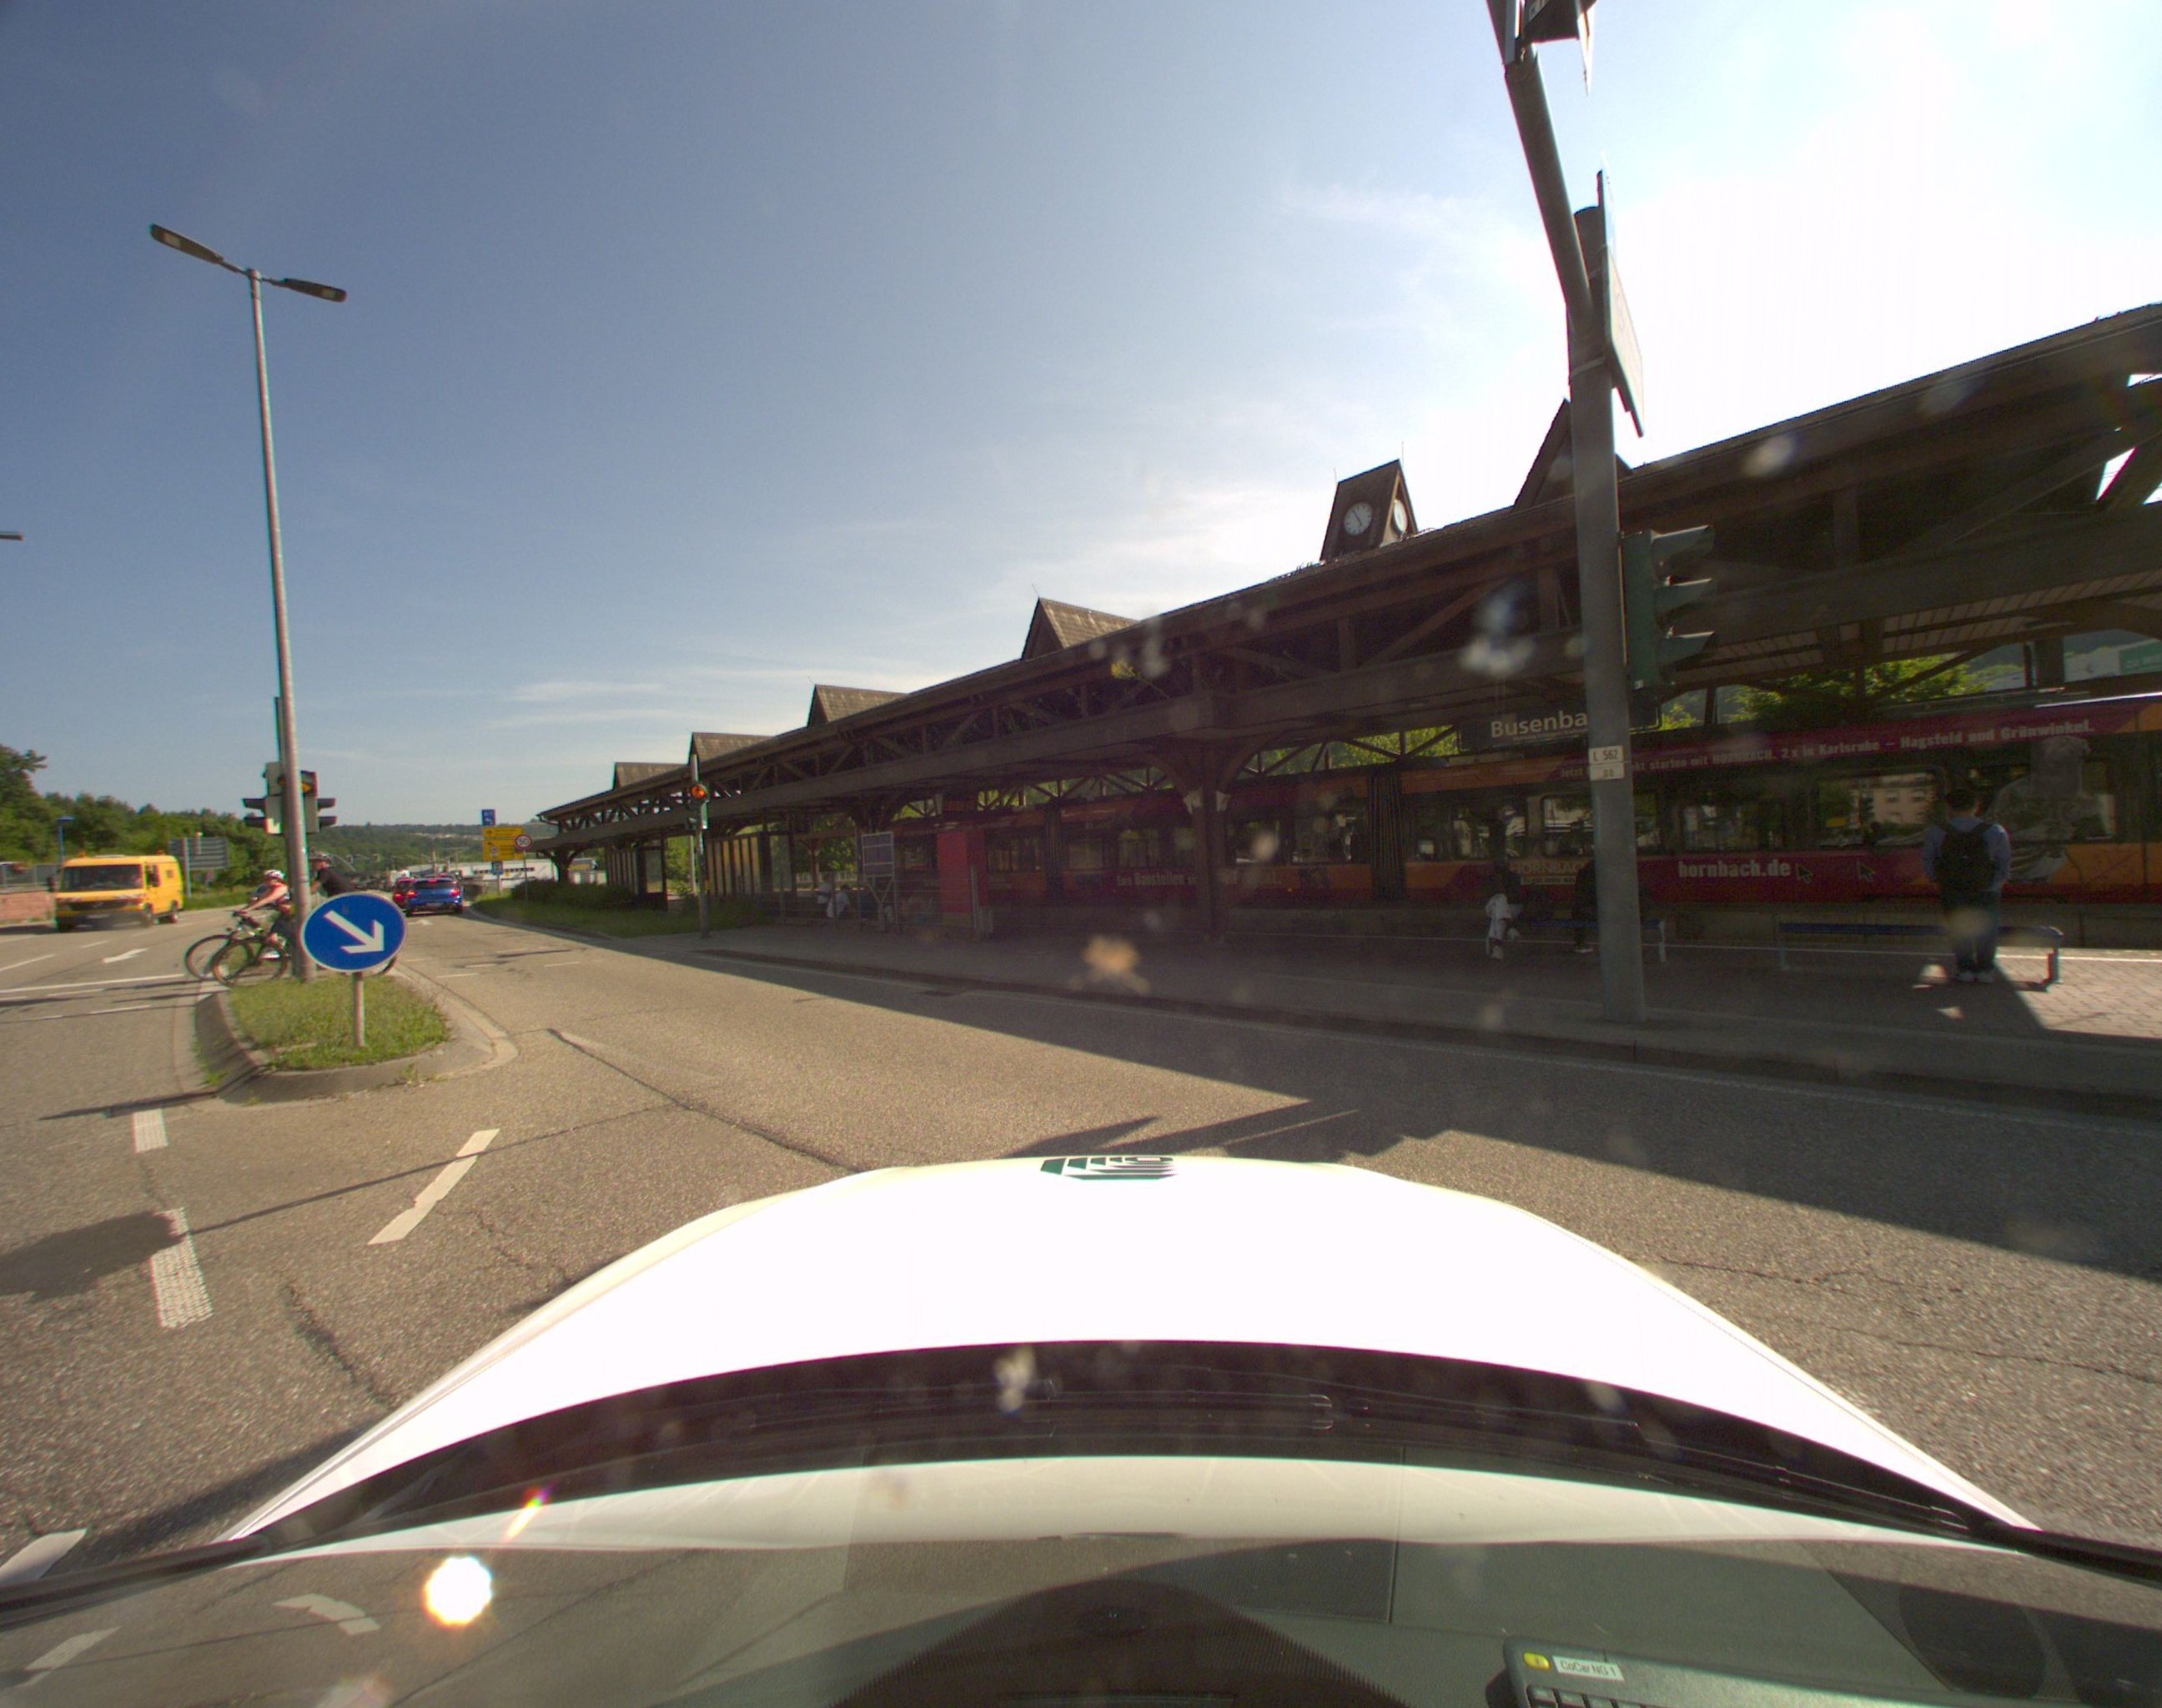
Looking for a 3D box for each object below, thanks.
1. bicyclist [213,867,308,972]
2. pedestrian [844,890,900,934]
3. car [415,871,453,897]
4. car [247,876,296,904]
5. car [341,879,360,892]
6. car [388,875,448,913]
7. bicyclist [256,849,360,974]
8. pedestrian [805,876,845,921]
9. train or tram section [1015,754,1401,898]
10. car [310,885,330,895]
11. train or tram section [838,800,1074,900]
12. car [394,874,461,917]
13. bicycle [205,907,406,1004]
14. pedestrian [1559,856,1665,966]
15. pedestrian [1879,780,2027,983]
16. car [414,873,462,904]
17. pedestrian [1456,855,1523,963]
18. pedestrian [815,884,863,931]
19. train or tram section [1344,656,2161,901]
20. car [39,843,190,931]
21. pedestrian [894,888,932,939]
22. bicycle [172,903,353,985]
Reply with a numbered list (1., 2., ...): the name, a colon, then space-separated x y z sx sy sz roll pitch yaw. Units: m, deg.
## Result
1. bicyclist: -13.247 1.020 13.161 0.796 1.564 0.963 -1 1 39
2. pedestrian: -4.422 1.210 17.256 0.797 0.874 0.853 -1 -1 41
3. car: -45.202 2.093 56.853 2.010 1.736 3.953 1 -2 -39
4. car: -46.931 2.072 47.273 1.761 1.462 3.995 -2 0 -42
5. car: -112.038 4.829 124.942 2.011 2.014 3.952 -1 -1 -41
6. car: -29.870 1.771 36.729 2.010 1.571 3.953 0 -2 -39
7. bicyclist: -11.085 0.790 11.683 0.796 1.691 0.999 -1 -1 41
8. pedestrian: -6.566 1.122 20.874 0.659 1.116 0.749 -1 -1 41
9. train or tram section: 3.021 -0.449 24.229 11.896 3.365 2.812 -3 -2 44
10. car: -118.729 5.596 127.097 1.806 1.471 4.662 -1 -1 -38
11. train or tram section: -5.457 -0.012 32.487 11.897 3.364 2.781 -1 -2 45
12. car: -26.236 1.621 32.639 1.885 1.548 3.952 -1 -1 -42
13. bicycle: -11.073 1.396 11.697 0.725 1.162 2.012 -1 -1 41
14. pedestrian: 6.113 0.620 9.372 0.936 1.160 1.016 -2 -1 35
15. pedestrian: 7.724 0.229 7.255 0.729 1.691 0.663 -2 0 35
16. car: -36.404 1.908 46.084 2.010 1.687 4.444 1 -2 -39
17. pedestrian: 4.974 0.640 9.894 0.589 1.236 1.000 0 -1 35
18. pedestrian: -5.438 1.190 18.304 0.759 0.982 0.749 -1 -1 41
19. train or tram section: 12.399 -0.922 15.368 14.171 3.365 2.882 -2 -1 43
20. car: -36.785 1.225 31.265 2.487 3.011 6.391 0 -2 -38
21. pedestrian: -3.321 1.163 16.111 0.401 0.966 0.623 -1 -1 41
22. bicycle: -13.209 1.410 13.205 0.725 1.064 1.985 -1 1 39
